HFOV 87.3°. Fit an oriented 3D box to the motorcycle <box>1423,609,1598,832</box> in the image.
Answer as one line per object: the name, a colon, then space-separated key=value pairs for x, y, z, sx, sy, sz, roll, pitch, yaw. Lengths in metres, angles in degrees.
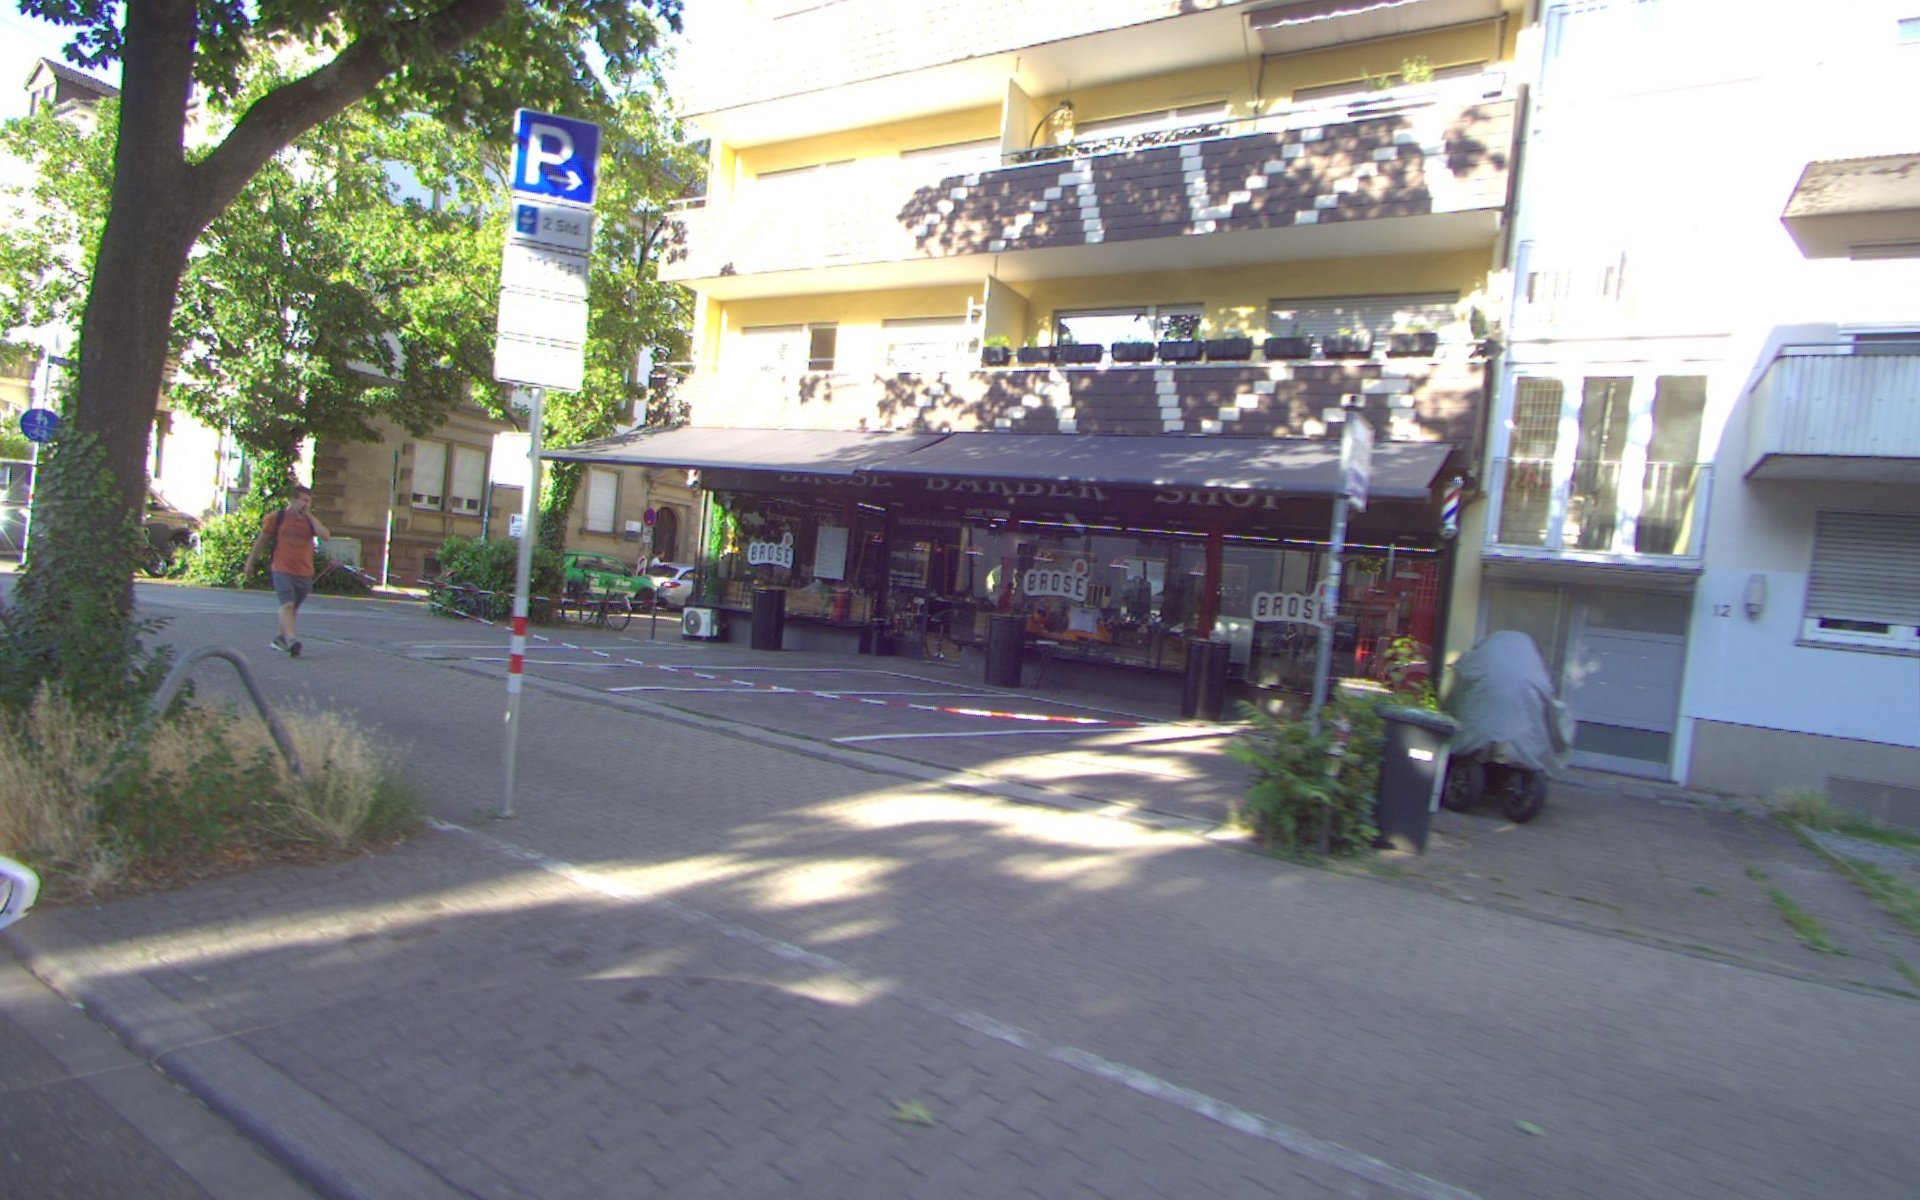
motorcycle: x=4.920 y=1.005 z=8.906 sx=0.876 sy=1.642 sz=2.193 roll=8 pitch=2 yaw=37

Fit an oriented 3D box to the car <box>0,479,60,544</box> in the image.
car: x=-25.254 y=-2.380 z=25.232 sx=1.483 sy=1.545 sz=3.812 roll=6 pitch=1 yaw=9

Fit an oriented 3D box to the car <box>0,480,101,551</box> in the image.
car: x=-23.378 y=-2.148 z=24.326 sx=1.483 sy=1.545 sz=3.812 roll=6 pitch=1 yaw=9

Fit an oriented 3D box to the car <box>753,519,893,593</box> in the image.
car: x=-3.386 y=-1.070 z=25.385 sx=1.633 sy=1.436 sz=3.348 roll=7 pitch=1 yaw=32

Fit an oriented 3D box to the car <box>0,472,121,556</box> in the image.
car: x=-21.366 y=-1.995 z=22.685 sx=1.483 sy=1.700 sz=3.811 roll=7 pitch=1 yaw=2

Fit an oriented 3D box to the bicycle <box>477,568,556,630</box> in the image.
bicycle: x=-7.949 y=-0.027 z=18.009 sx=1.554 sy=0.963 sz=0.342 roll=6 pitch=4 yaw=26

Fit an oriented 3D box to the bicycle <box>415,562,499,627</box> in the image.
bicycle: x=-8.837 y=-0.106 z=17.642 sx=1.554 sy=0.961 sz=0.343 roll=6 pitch=-1 yaw=26

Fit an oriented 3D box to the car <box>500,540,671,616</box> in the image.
car: x=-10.113 y=-0.558 z=27.410 sx=1.897 sy=1.605 sz=3.920 roll=7 pitch=1 yaw=32

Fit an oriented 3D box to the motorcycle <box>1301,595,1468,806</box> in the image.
motorcycle: x=3.933 y=0.882 z=9.201 sx=0.720 sy=1.642 sz=2.193 roll=8 pitch=2 yaw=37

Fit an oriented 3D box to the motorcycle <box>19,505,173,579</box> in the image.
motorcycle: x=-15.911 y=-1.042 z=18.593 sx=0.516 sy=1.139 sz=2.055 roll=7 pitch=1 yaw=26

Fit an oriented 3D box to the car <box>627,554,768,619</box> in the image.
car: x=-8.089 y=-0.384 z=31.285 sx=1.897 sy=1.605 sz=3.920 roll=7 pitch=1 yaw=32

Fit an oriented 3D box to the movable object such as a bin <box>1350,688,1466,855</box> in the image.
movable object such as a bin: x=2.985 y=1.109 z=6.689 sx=0.530 sy=0.961 sz=0.613 roll=7 pitch=2 yaw=32

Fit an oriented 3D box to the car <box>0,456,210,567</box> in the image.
car: x=-18.482 y=-1.808 z=21.028 sx=1.878 sy=1.917 sz=4.547 roll=6 pitch=1 yaw=4

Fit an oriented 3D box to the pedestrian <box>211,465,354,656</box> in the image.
pedestrian: x=-6.936 y=-0.394 z=10.307 sx=0.890 sy=1.820 sz=0.757 roll=7 pitch=2 yaw=26
